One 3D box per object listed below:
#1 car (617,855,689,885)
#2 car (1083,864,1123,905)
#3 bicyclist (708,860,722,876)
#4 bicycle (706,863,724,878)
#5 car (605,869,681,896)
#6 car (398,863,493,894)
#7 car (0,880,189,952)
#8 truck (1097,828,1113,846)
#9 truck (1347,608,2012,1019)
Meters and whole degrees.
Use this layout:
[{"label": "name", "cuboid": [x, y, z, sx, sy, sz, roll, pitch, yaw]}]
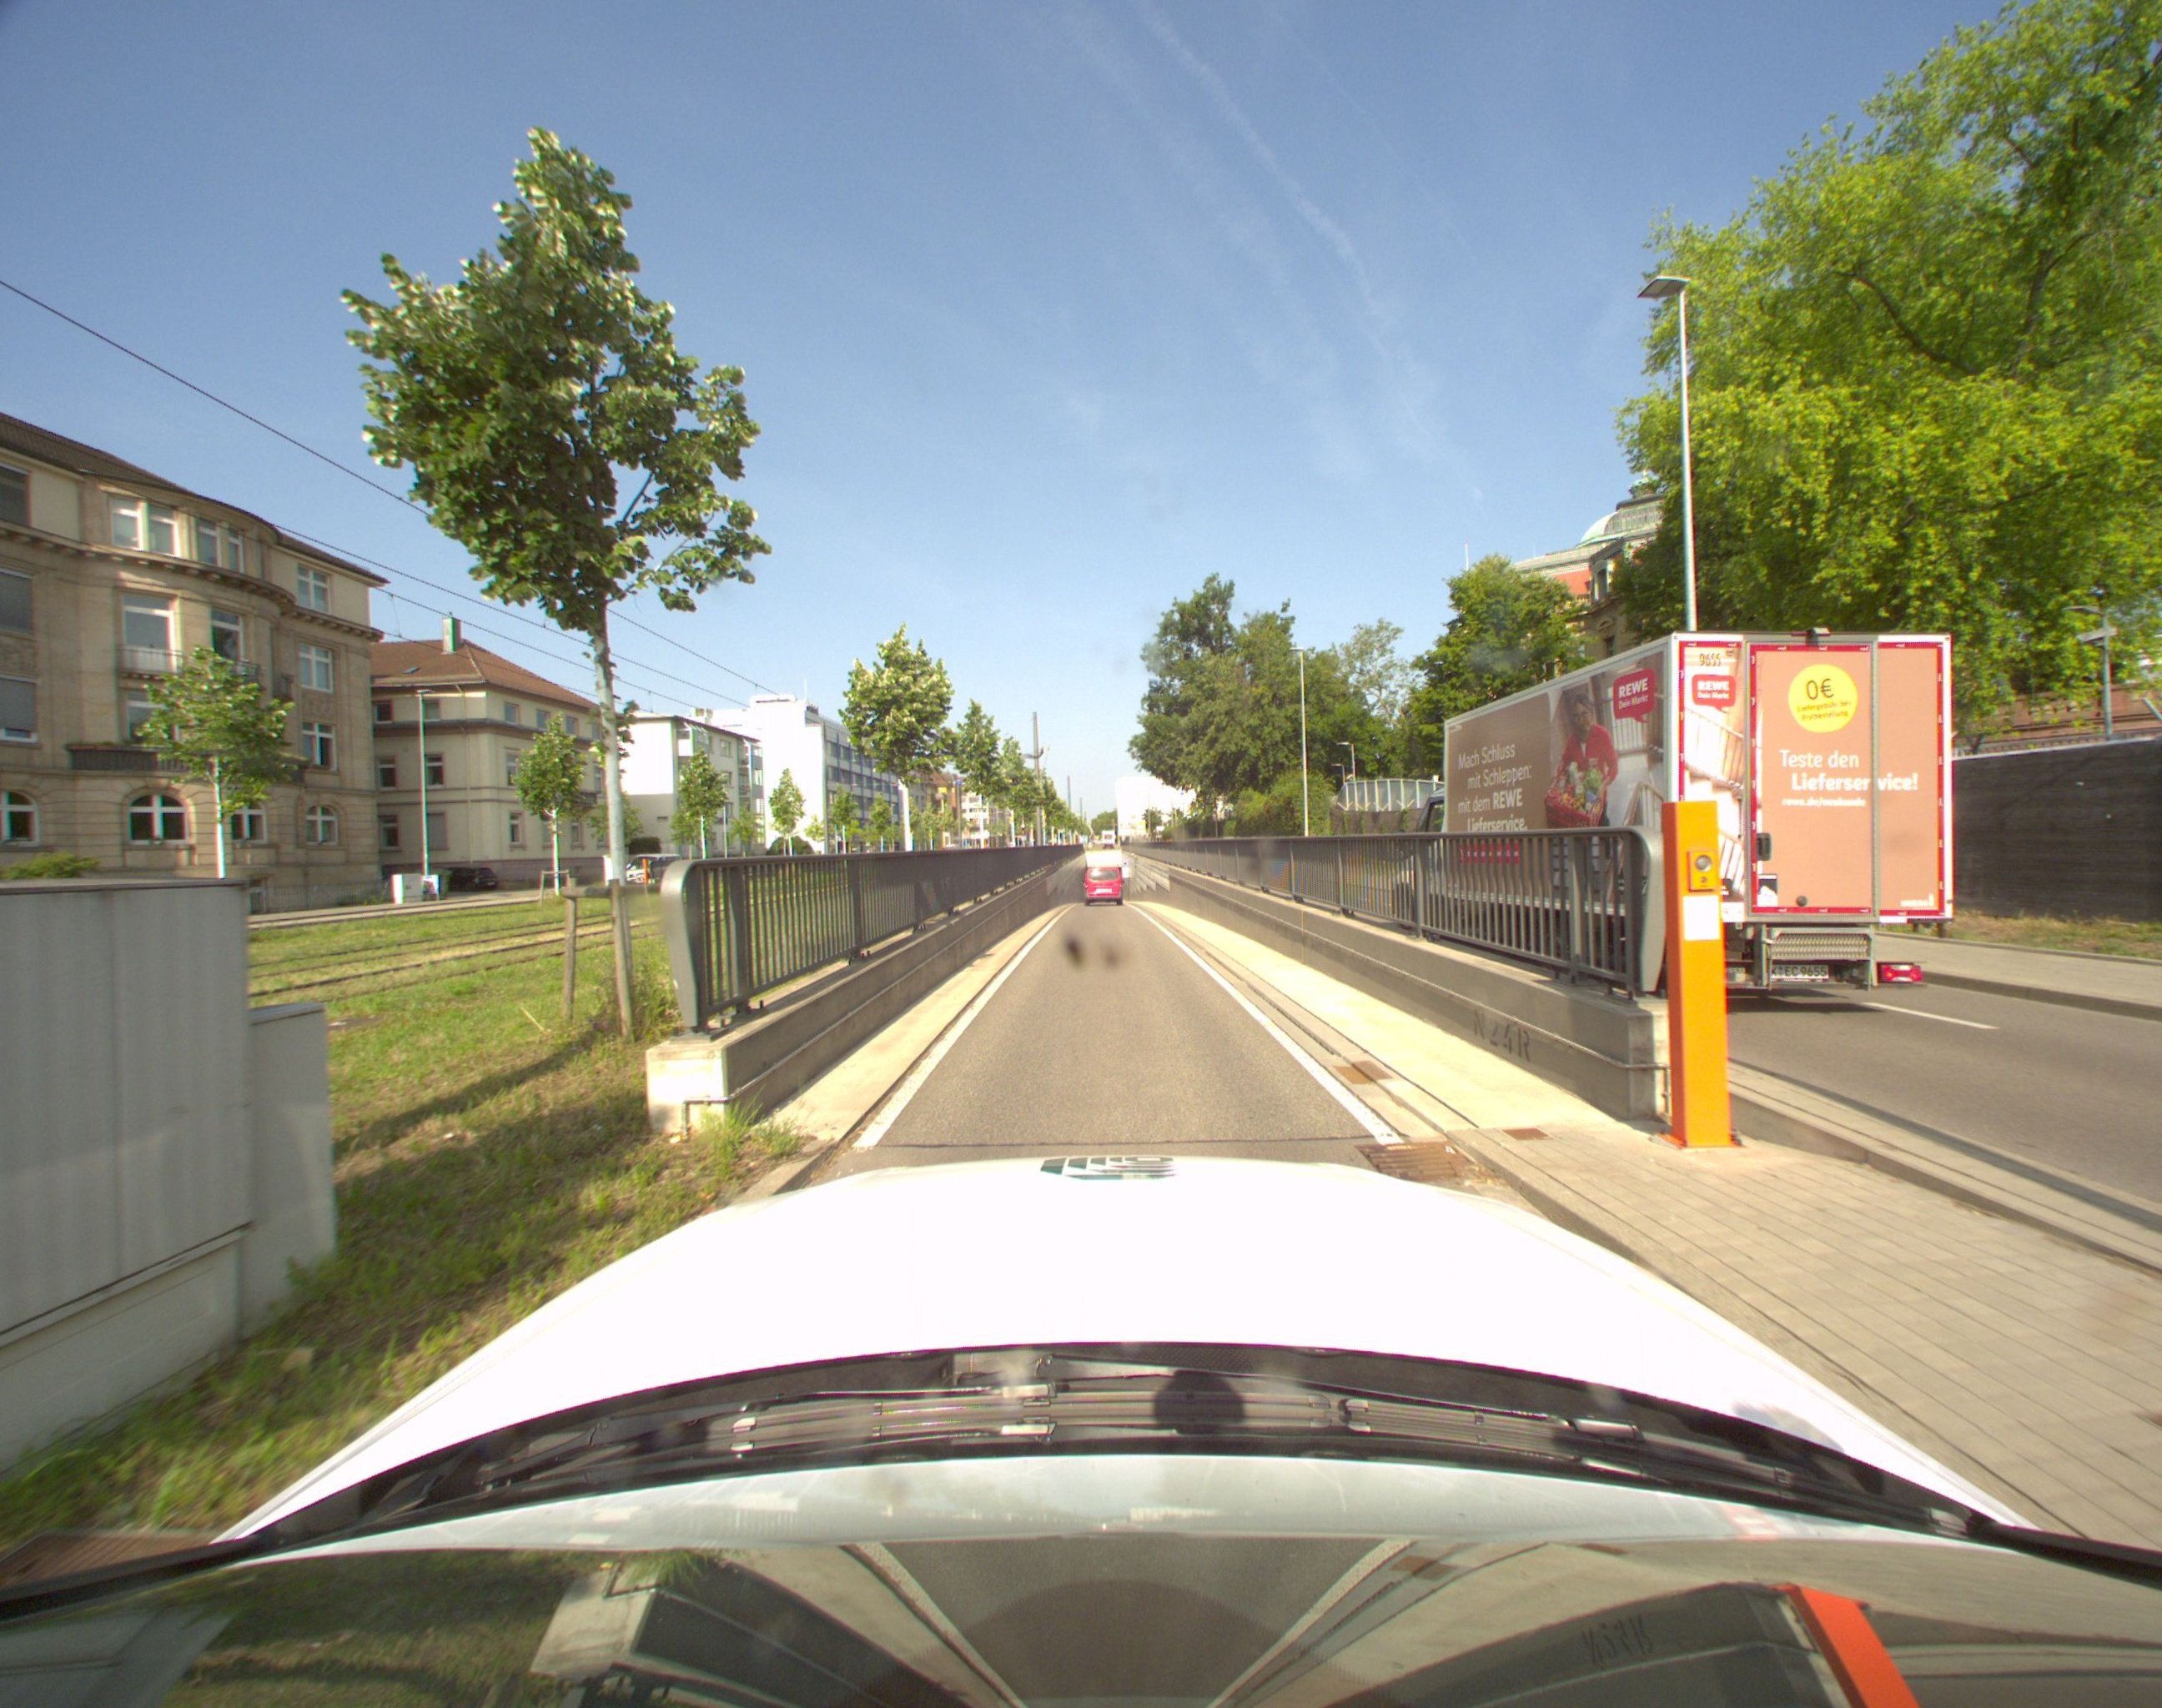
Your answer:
[{"label": "car", "cuboid": [-30.176, 1.162, 57.643, 2.242, 2.014, 5.262, 0, -1, 0]}, {"label": "car", "cuboid": [1.141, 1.472, 40.900, 1.893, 1.859, 4.004, 0, 1, 3]}, {"label": "bicyclist", "cuboid": [-27.950, 1.051, 62.226, 0.530, 1.178, 1.251, 0, 0, 0]}, {"label": "bicycle", "cuboid": [-27.955, 1.268, 62.263, 0.530, 1.093, 1.875, 0, 0, 0]}, {"label": "car", "cuboid": [-25.798, 1.629, 48.152, 1.986, 1.467, 4.440, -1, -1, 2]}, {"label": "car", "cuboid": [-36.433, 1.368, 46.756, 3.977, 1.552, 1.653, -2, 0, -3]}, {"label": "car", "cuboid": [-26.113, 1.559, 21.180, 1.513, 1.464, 3.825, -2, 2, 0]}, {"label": "truck", "cuboid": [5.262, -3.766, 179.471, 3.379, 3.726, 10.454, -2, 0, 1]}, {"label": "truck", "cuboid": [5.753, -0.309, 9.996, 2.494, 3.060, 7.820, 0, 0, 0]}]
